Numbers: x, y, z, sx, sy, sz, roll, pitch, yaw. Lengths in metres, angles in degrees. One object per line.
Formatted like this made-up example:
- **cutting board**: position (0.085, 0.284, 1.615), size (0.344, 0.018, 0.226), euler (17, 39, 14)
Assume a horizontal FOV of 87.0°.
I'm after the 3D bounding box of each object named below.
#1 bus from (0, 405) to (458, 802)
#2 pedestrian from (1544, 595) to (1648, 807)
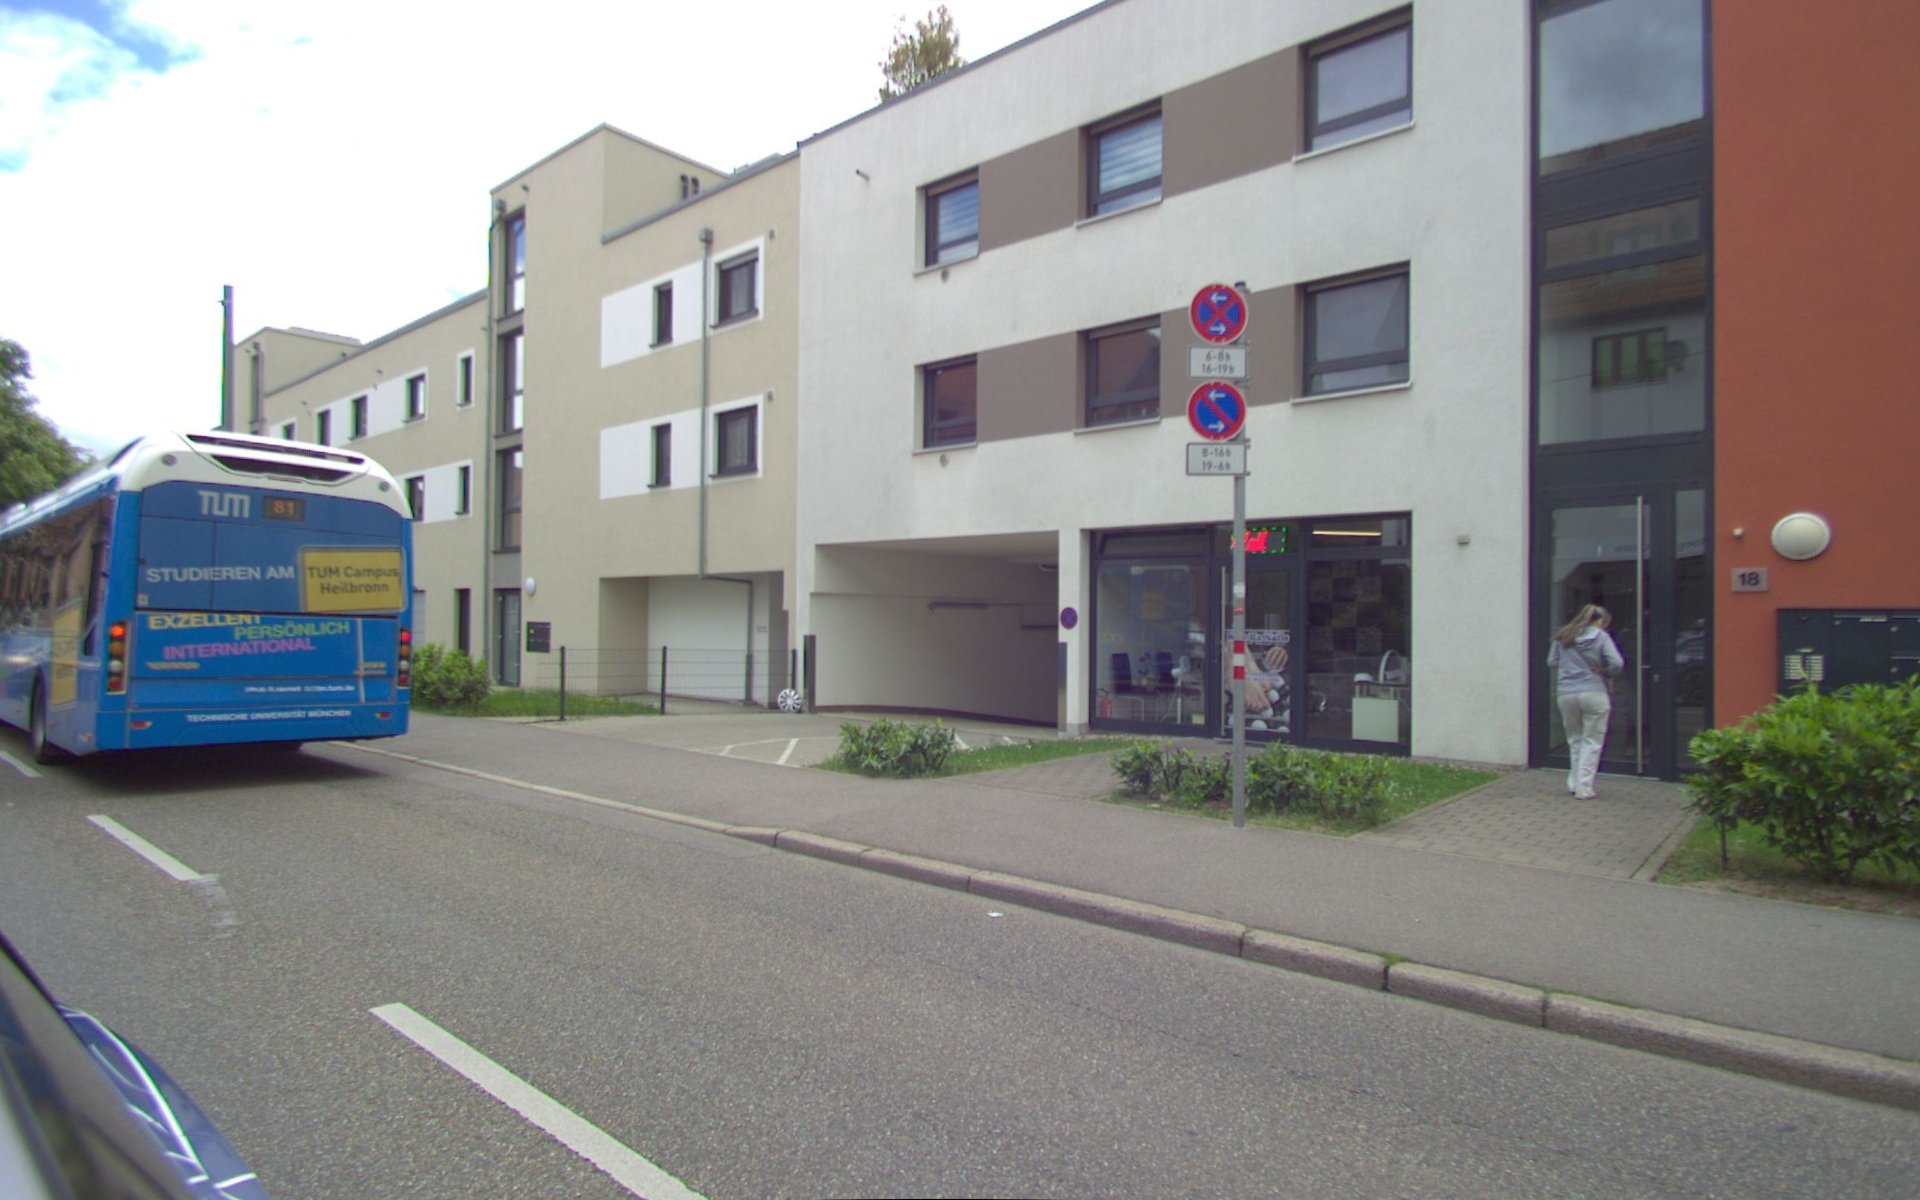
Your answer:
- **bus**: position (-10.802, 0.186, 13.449), size (12.000, 3.299, 2.912), euler (-1, -3, 41)
- **pedestrian**: position (5.232, 0.795, 8.328), size (0.640, 1.655, 0.513), euler (-1, -2, 40)
